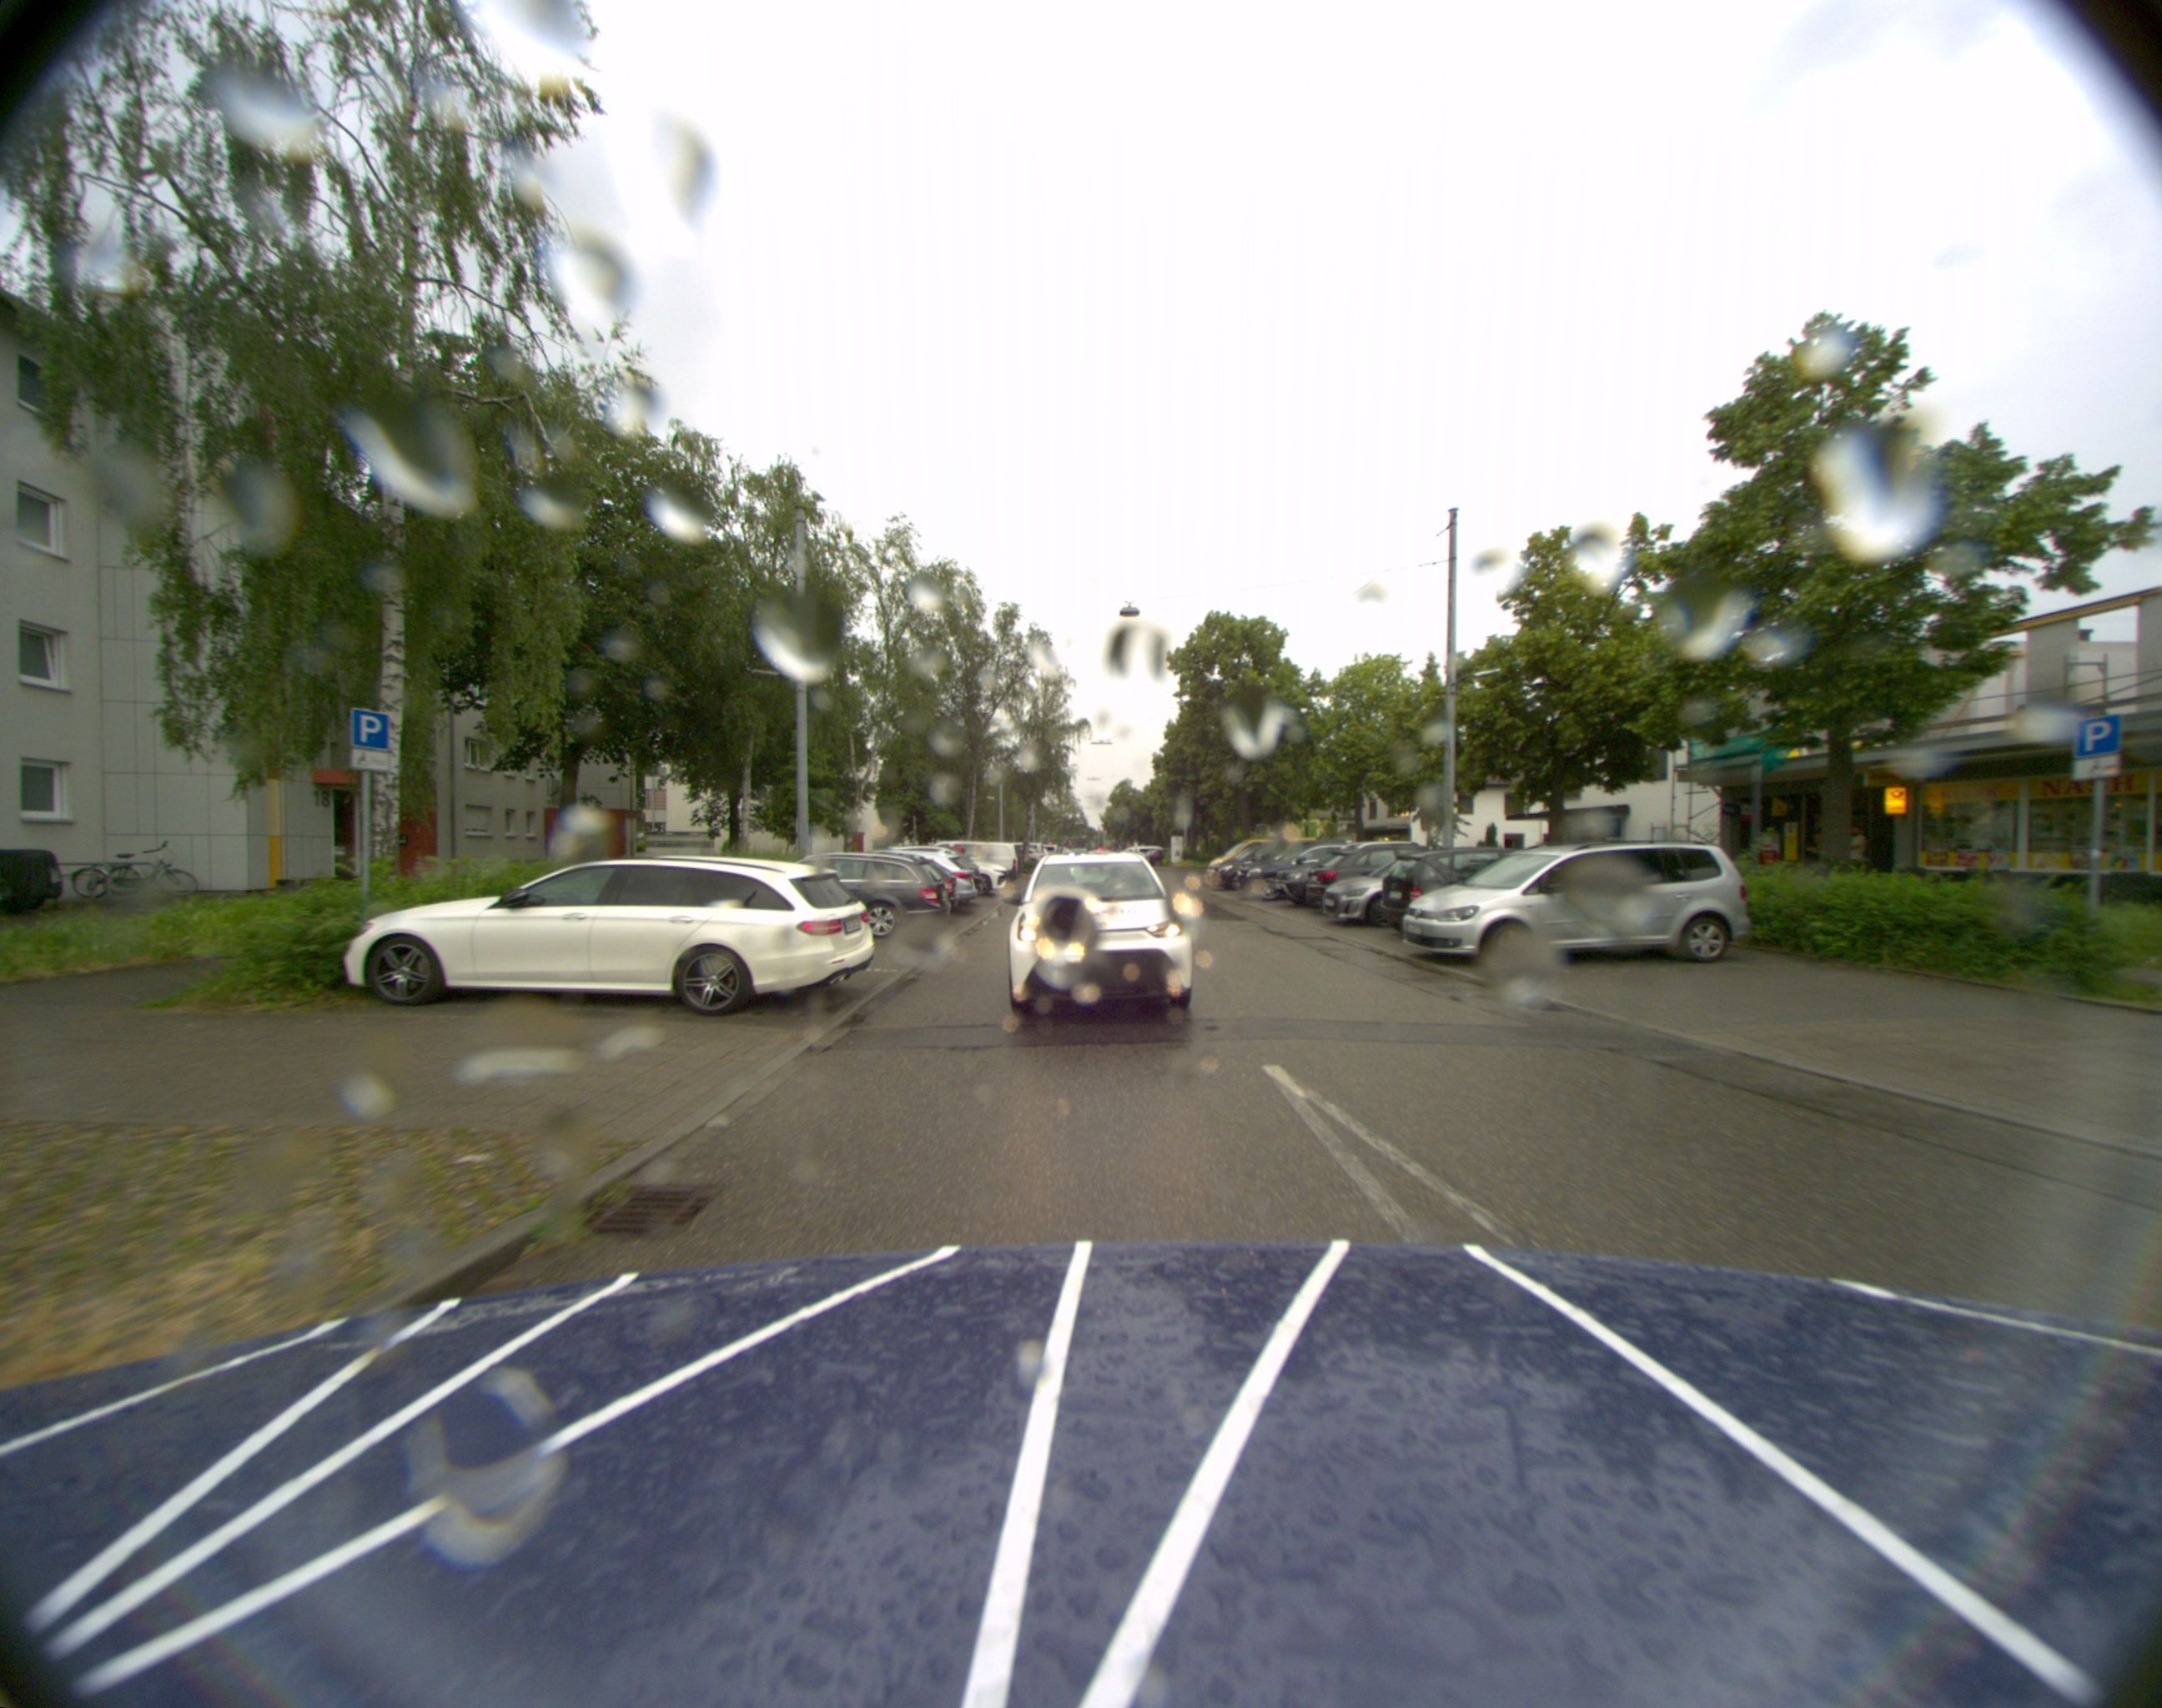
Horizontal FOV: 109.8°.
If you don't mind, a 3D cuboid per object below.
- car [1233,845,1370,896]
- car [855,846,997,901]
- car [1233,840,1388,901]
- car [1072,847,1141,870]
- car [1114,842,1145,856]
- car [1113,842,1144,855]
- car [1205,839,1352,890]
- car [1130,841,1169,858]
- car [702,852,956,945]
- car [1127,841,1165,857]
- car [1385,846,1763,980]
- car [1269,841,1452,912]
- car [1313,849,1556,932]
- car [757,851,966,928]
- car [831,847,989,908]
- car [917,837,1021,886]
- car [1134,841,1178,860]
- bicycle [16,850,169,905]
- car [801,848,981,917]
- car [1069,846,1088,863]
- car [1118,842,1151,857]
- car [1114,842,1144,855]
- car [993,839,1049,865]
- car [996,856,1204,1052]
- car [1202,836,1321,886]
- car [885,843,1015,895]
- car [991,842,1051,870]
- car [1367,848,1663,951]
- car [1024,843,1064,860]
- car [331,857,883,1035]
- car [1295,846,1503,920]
[{"bbox_3d":[7.651,0.534,26.613,4.283,1.618,1.715,-1,1,-1],"label":"car"},{"bbox_3d":[-4.745,0.590,23.669,4.049,1.488,1.680,2,1,-2],"label":"car"},{"bbox_3d":[7.025,0.479,23.522,4.283,1.717,1.715,-1,1,-1],"label":"car"},{"bbox_3d":[1.684,0.309,50.950,4.245,1.446,2.004,-1,2,41],"label":"car"},{"bbox_3d":[6.539,-0.714,102.554,3.998,1.675,1.999,-2,1,-2],"label":"car"},{"bbox_3d":[6.515,-0.757,104.787,3.998,1.675,1.999,-2,1,-2],"label":"car"},{"bbox_3d":[7.567,0.388,29.390,5.177,1.789,1.715,-1,1,-1],"label":"car"},{"bbox_3d":[7.350,-0.507,81.730,3.998,1.675,1.999,-2,1,-2],"label":"car"},{"bbox_3d":[-4.445,0.772,13.861,4.049,1.431,1.680,2,1,-2],"label":"car"},{"bbox_3d":[7.191,-0.550,84.221,3.998,1.675,1.999,-2,1,-2],"label":"car"},{"bbox_3d":[6.808,0.756,10.787,4.283,1.625,1.715,-1,1,-1],"label":"car"},{"bbox_3d":[7.424,0.553,20.423,4.283,1.717,1.715,-1,1,-1],"label":"car"},{"bbox_3d":[7.278,0.713,15.893,4.283,1.524,1.715,-1,1,-1],"label":"car"},{"bbox_3d":[-4.651,0.727,16.533,4.049,1.431,1.680,2,1,-2],"label":"car"},{"bbox_3d":[-4.702,0.634,21.343,4.049,1.488,1.680,2,1,-2],"label":"car"},{"bbox_3d":[-4.650,0.311,31.933,4.182,1.856,1.679,2,2,-5],"label":"car"},{"bbox_3d":[7.344,-0.360,74.282,3.998,1.675,1.999,-2,1,-2],"label":"car"},{"bbox_3d":[-19.802,0.437,15.307,0.705,0.986,1.942,-2,1,-10],"label":"bicycle"},{"bbox_3d":[-4.628,0.679,18.928,4.049,1.488,1.680,2,1,-2],"label":"car"},{"bbox_3d":[-0.275,0.029,85.307,1.998,1.804,3.999,-2,1,1],"label":"car"},{"bbox_3d":[6.752,-0.592,95.923,3.998,1.675,1.999,-2,1,-2],"label":"car"},{"bbox_3d":[6.787,-0.727,107.227,3.998,1.675,1.999,-2,1,-2],"label":"car"},{"bbox_3d":[-4.706,-0.175,59.954,3.995,1.903,1.902,-2,1,5],"label":"car"},{"bbox_3d":[0.108,0.854,8.550,1.733,1.519,4.138,-2,1,-2],"label":"car"},{"bbox_3d":[7.672,0.280,32.499,4.656,1.947,1.715,-1,1,-1],"label":"car"},{"bbox_3d":[-4.528,0.510,26.688,4.179,1.609,1.680,2,1,2],"label":"car"},{"bbox_3d":[-4.287,0.133,55.092,3.995,1.903,1.902,-2,1,5],"label":"car"},{"bbox_3d":[7.493,0.742,13.366,4.283,1.557,1.635,-2,1,-1],"label":"car"},{"bbox_3d":[-3.913,-0.276,80.730,3.995,1.670,1.902,-2,1,5],"label":"car"},{"bbox_3d":[-4.602,0.853,7.849,4.623,1.431,1.680,2,1,0],"label":"car"},{"bbox_3d":[7.555,0.649,18.286,4.283,1.586,1.715,-1,1,-1],"label":"car"}]
